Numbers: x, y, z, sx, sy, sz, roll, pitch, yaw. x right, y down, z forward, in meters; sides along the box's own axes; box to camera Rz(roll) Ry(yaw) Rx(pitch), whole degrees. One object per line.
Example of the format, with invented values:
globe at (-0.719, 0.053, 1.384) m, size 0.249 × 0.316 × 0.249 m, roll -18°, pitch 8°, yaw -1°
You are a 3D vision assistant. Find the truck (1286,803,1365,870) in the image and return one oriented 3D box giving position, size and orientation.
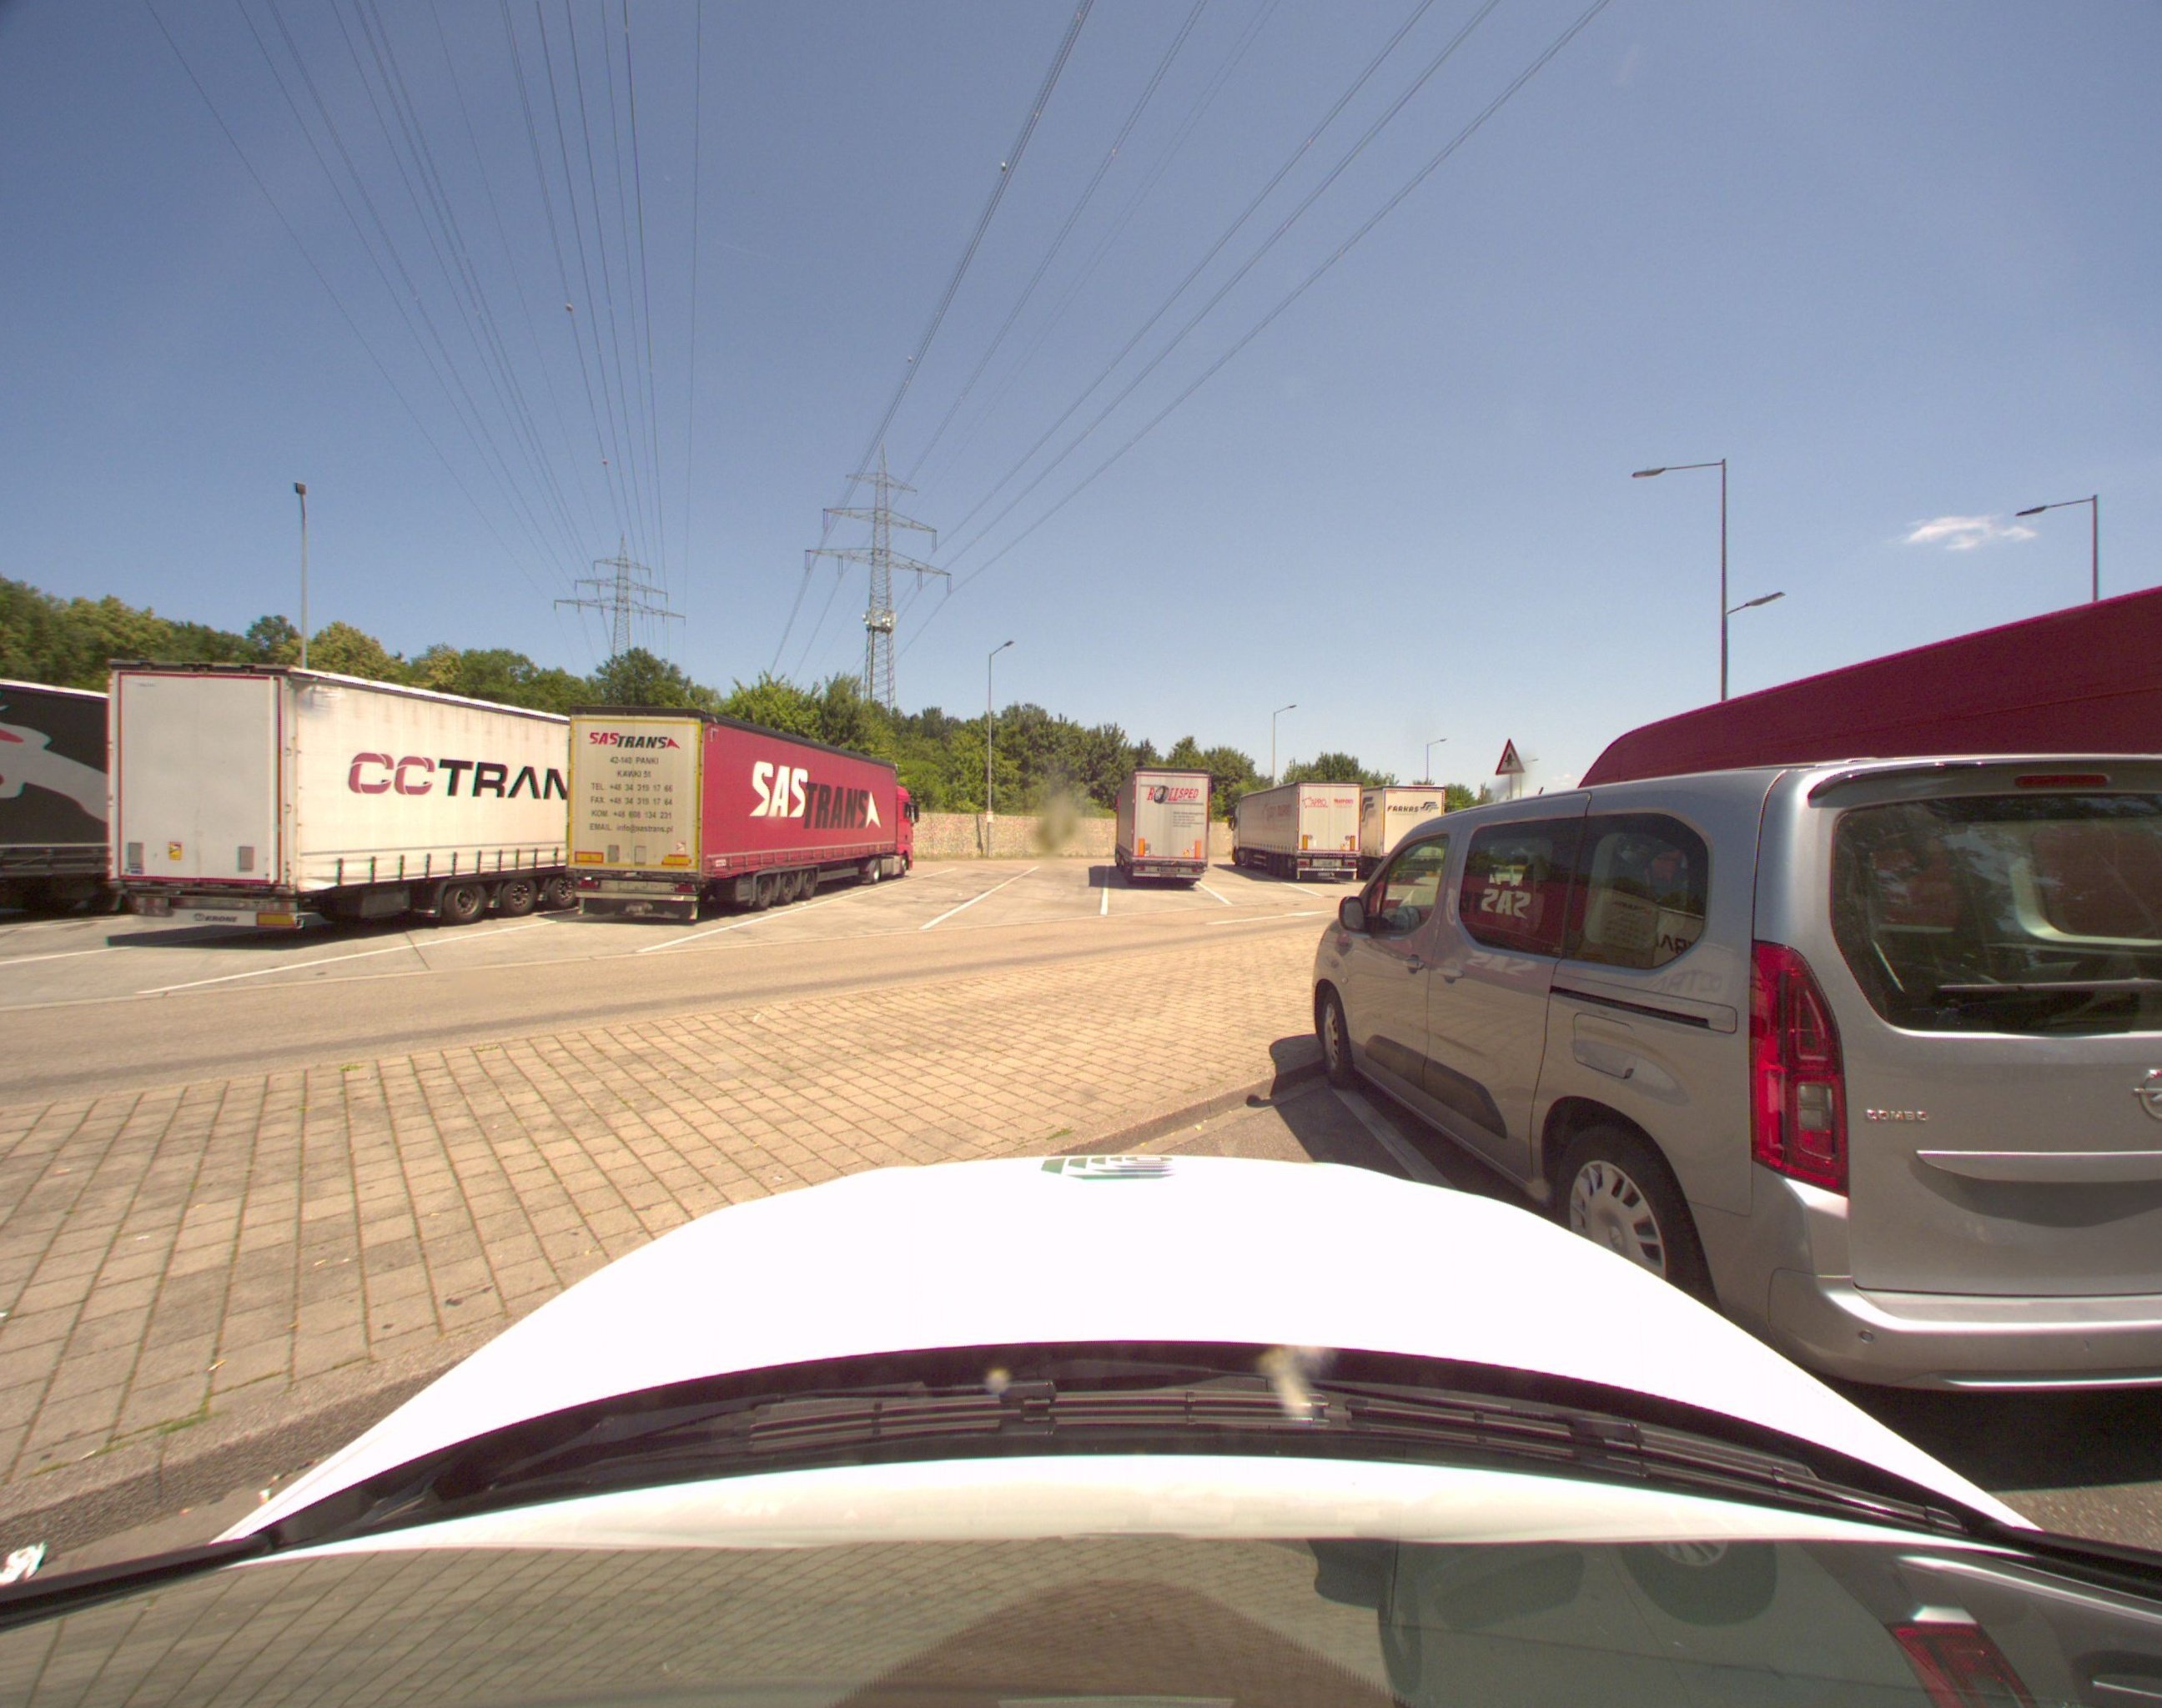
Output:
truck at (13.849, -1.033, 46.616) m, size 2.792 × 3.521 × 5.903 m, roll 1°, pitch 2°, yaw 2°

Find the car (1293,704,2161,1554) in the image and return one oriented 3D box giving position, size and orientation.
car at (2.494, 0.577, 3.883) m, size 1.864 × 1.863 × 4.176 m, roll 1°, pitch 1°, yaw 0°

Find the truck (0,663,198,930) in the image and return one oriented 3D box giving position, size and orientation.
truck at (-18.536, -0.966, 13.785) m, size 2.726 × 4.239 × 3.997 m, roll 1°, pitch 2°, yaw 2°

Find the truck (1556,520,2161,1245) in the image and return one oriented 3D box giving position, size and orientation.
truck at (5.140, 0.121, 4.906) m, size 1.968 × 2.622 × 5.314 m, roll 0°, pitch -1°, yaw 7°

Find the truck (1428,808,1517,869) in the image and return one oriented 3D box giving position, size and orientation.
truck at (24.362, -1.005, 50.984) m, size 2.792 × 3.521 × 5.903 m, roll 1°, pitch 2°, yaw 2°

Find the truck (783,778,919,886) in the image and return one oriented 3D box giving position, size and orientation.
truck at (-7.811, -0.782, 28.475) m, size 2.840 × 3.327 × 5.903 m, roll 1°, pitch 2°, yaw 2°

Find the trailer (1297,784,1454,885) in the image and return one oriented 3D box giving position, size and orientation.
trailer at (13.608, -1.035, 39.607) m, size 2.801 × 3.989 × 14.403 m, roll 1°, pitch 2°, yaw 2°

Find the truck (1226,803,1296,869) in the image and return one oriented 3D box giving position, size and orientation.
truck at (10.197, -1.073, 46.745) m, size 2.852 × 3.521 × 5.903 m, roll 1°, pitch 2°, yaw 2°

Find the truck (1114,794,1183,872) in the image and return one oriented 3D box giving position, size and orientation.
truck at (3.235, -1.079, 40.589) m, size 3.092 × 3.566 × 5.903 m, roll 1°, pitch 2°, yaw 2°

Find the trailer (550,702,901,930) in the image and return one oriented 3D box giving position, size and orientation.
trailer at (-8.059, -0.945, 21.905) m, size 2.781 × 4.084 × 14.139 m, roll 1°, pitch 2°, yaw 2°

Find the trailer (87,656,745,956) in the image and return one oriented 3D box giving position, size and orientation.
trailer at (-12.123, -0.908, 18.336) m, size 2.785 × 4.084 × 14.139 m, roll 1°, pitch 2°, yaw 2°

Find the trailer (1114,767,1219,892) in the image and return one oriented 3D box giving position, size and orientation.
trailer at (3.069, -1.062, 33.695) m, size 3.122 × 3.989 × 14.401 m, roll 1°, pitch 2°, yaw 1°

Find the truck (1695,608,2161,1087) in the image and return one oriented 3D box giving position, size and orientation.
truck at (7.995, -0.034, 6.455) m, size 2.444 × 2.912 × 5.663 m, roll -1°, pitch -1°, yaw 7°

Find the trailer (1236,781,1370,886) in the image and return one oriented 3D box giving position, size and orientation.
trailer at (9.934, -1.043, 38.644) m, size 2.801 × 3.989 × 14.403 m, roll 1°, pitch 2°, yaw 2°

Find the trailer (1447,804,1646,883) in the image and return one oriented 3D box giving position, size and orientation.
trailer at (24.105, -0.733, 43.753) m, size 2.801 × 3.507 × 14.403 m, roll 1°, pitch 2°, yaw 2°
